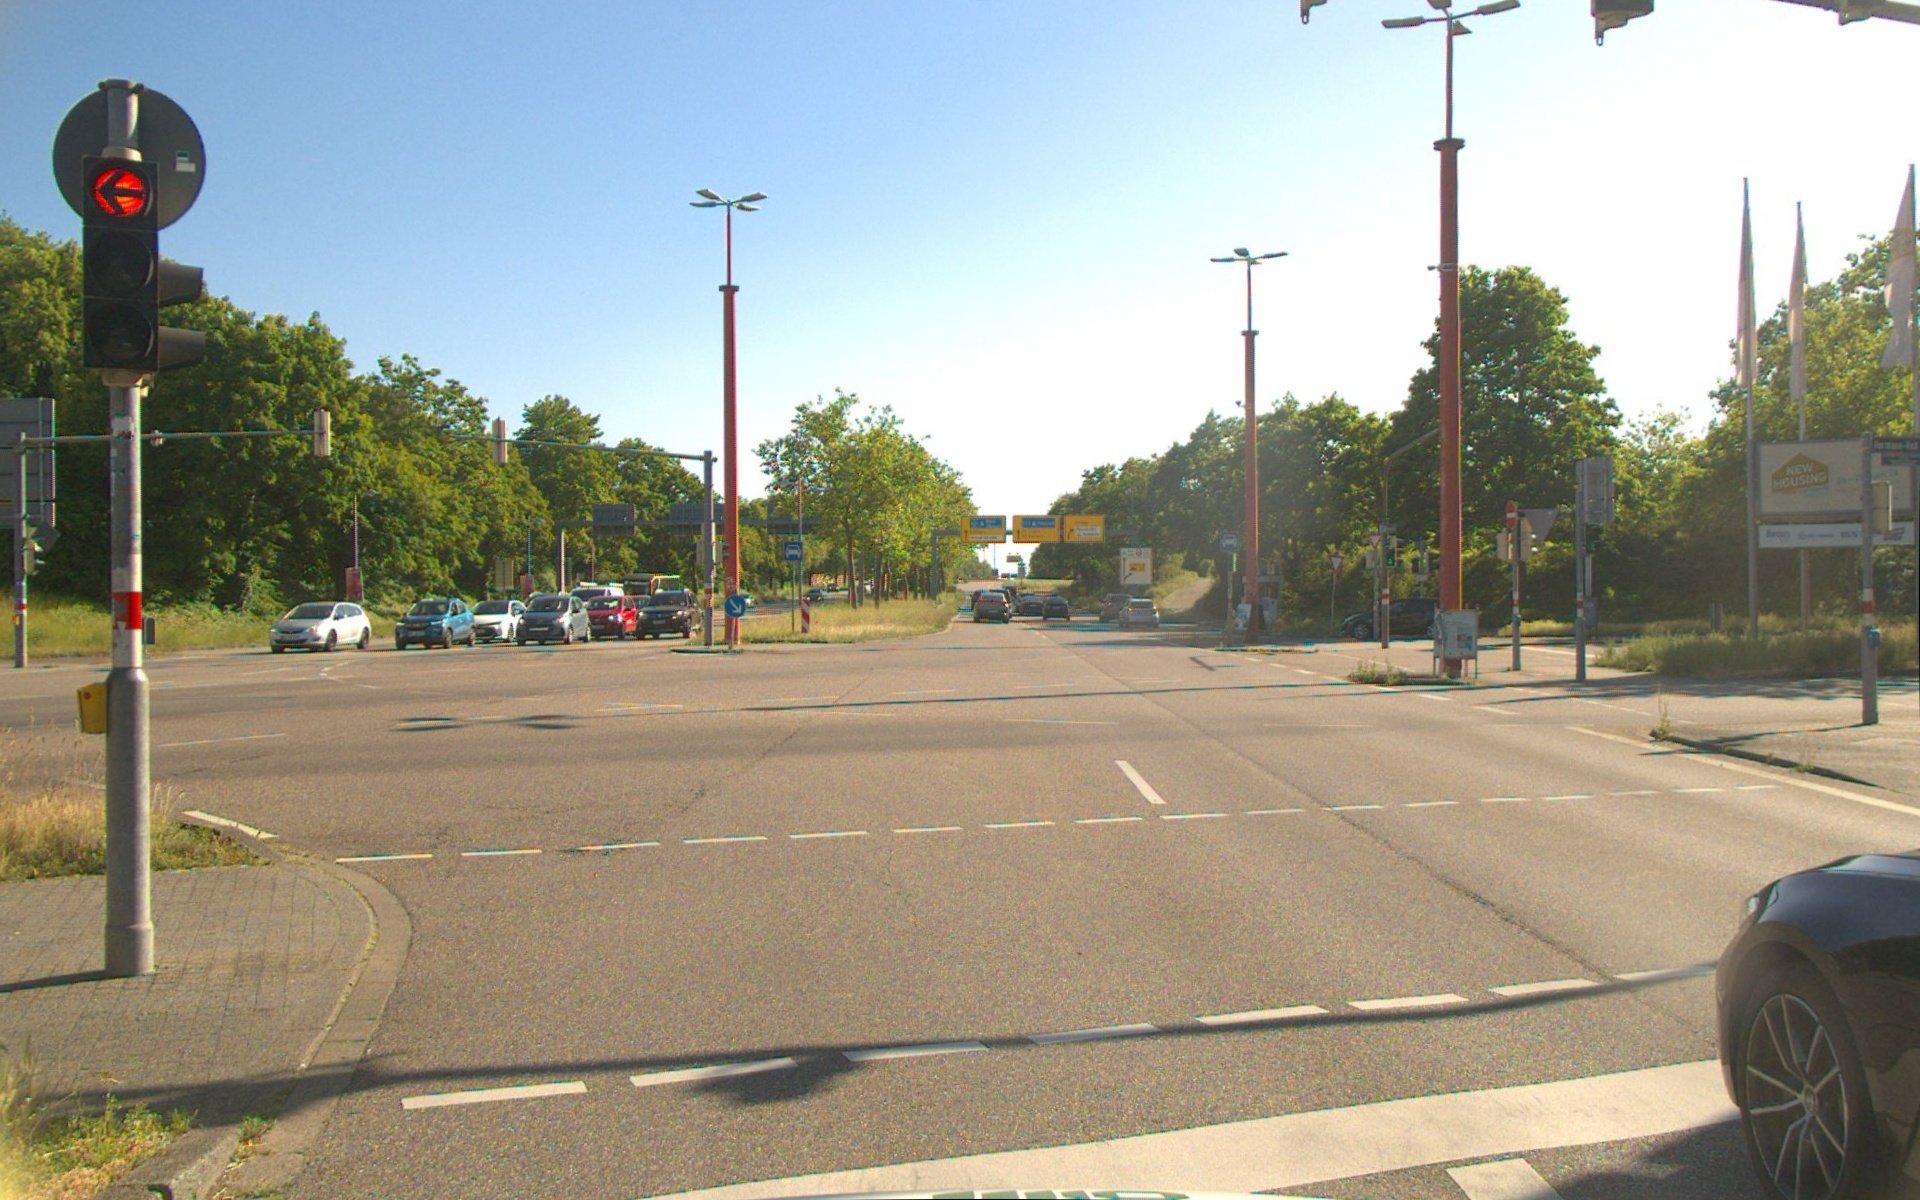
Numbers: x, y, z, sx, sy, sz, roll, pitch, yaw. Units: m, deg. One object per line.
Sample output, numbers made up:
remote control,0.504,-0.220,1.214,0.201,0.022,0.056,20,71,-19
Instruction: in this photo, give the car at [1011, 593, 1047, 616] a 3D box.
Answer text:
car,4.975,0.312,119.611,2.116,1.601,4.277,0,0,-4

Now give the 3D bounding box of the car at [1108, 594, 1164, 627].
car,8.876,0.507,83.812,2.116,1.601,4.277,0,0,-4

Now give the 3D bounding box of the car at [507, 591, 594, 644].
car,-12.808,0.519,51.966,1.954,1.601,4.118,0,0,-4

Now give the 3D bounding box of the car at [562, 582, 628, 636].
car,-15.675,0.383,71.266,2.021,2.231,4.376,0,0,-3

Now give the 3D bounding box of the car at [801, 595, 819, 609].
car,-18.063,0.245,199.410,1.954,1.601,4.118,0,0,-3

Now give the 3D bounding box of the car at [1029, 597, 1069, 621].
car,5.511,0.532,102.622,1.915,1.467,4.277,0,0,-4

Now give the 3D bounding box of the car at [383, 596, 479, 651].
car,-16.211,0.680,50.892,1.955,1.601,4.116,0,0,-5

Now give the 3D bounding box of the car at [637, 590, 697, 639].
car,-9.877,0.469,55.992,1.841,1.601,4.113,0,0,-8

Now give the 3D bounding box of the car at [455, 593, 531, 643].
car,-15.994,0.594,56.785,1.956,1.601,4.113,-1,0,-8

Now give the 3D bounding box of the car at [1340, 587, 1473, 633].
car,15.935,0.346,59.007,4.187,1.601,2.162,0,0,30

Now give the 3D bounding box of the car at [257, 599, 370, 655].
car,-19.590,0.783,50.298,1.954,1.601,4.118,0,0,-3

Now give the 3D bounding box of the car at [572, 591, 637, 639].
car,-12.482,0.505,58.272,1.956,1.601,4.113,0,0,-8

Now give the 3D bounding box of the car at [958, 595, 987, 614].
car,1.080,0.392,141.248,2.116,1.601,4.277,0,0,-4

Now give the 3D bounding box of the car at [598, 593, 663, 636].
car,-12.715,0.525,64.047,1.954,1.601,4.117,0,0,-4

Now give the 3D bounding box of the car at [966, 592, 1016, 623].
car,1.639,0.375,88.867,2.202,1.601,4.276,0,0,-5

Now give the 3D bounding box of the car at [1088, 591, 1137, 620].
car,8.814,0.313,96.026,2.116,1.601,4.277,0,0,-4

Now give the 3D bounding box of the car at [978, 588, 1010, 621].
car,2.160,0.298,105.799,1.953,2.049,3.999,0,0,-1

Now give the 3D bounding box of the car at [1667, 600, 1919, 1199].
car,2.971,0.714,2.362,1.953,1.419,4.476,0,0,-1
